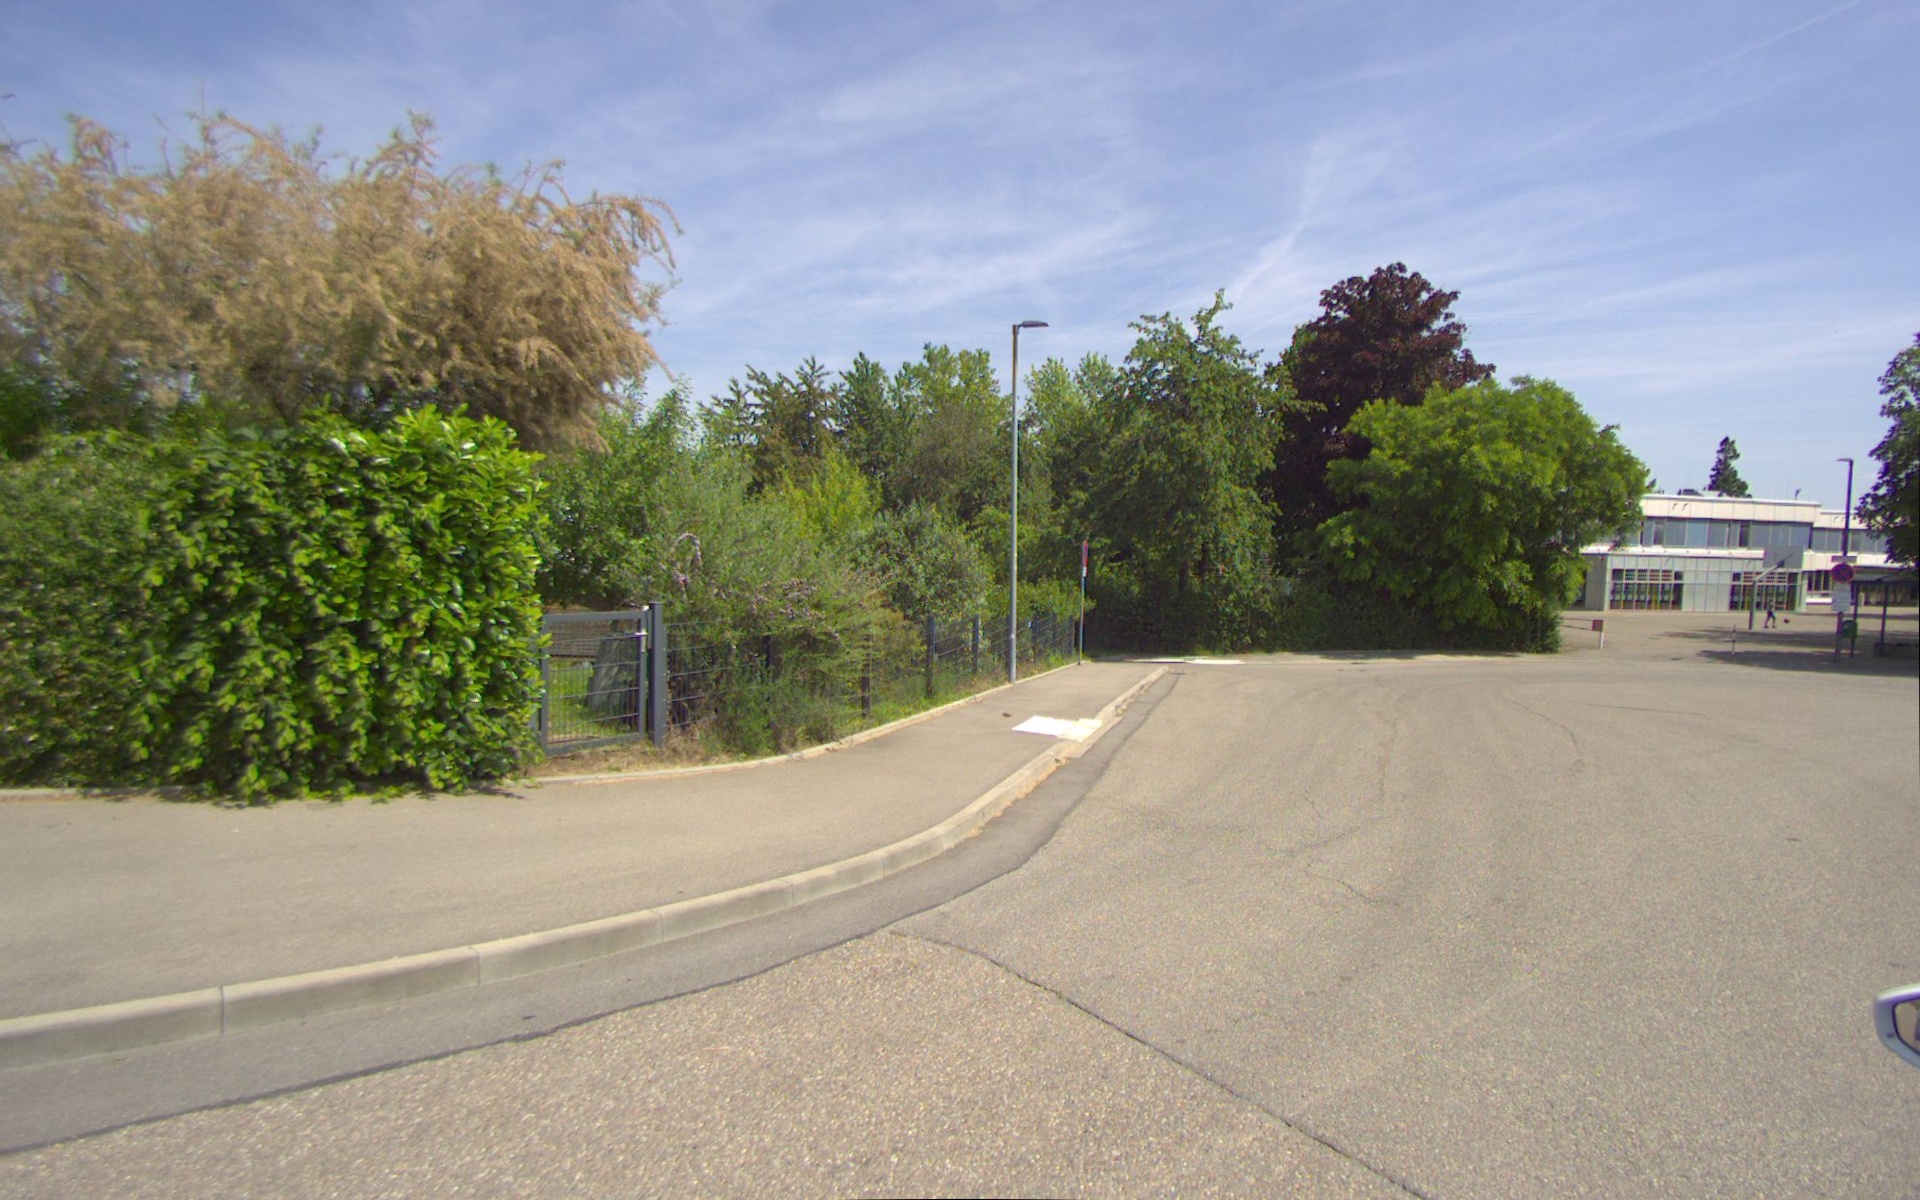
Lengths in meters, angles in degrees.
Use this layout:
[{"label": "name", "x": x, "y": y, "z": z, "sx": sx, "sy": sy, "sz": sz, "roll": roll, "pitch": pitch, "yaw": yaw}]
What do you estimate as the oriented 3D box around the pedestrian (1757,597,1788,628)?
[{"label": "pedestrian", "x": 39.377, "y": 0.592, "z": 48.692, "sx": 1.052, "sy": 1.442, "sz": 0.916, "roll": 3, "pitch": 3, "yaw": 36}]
